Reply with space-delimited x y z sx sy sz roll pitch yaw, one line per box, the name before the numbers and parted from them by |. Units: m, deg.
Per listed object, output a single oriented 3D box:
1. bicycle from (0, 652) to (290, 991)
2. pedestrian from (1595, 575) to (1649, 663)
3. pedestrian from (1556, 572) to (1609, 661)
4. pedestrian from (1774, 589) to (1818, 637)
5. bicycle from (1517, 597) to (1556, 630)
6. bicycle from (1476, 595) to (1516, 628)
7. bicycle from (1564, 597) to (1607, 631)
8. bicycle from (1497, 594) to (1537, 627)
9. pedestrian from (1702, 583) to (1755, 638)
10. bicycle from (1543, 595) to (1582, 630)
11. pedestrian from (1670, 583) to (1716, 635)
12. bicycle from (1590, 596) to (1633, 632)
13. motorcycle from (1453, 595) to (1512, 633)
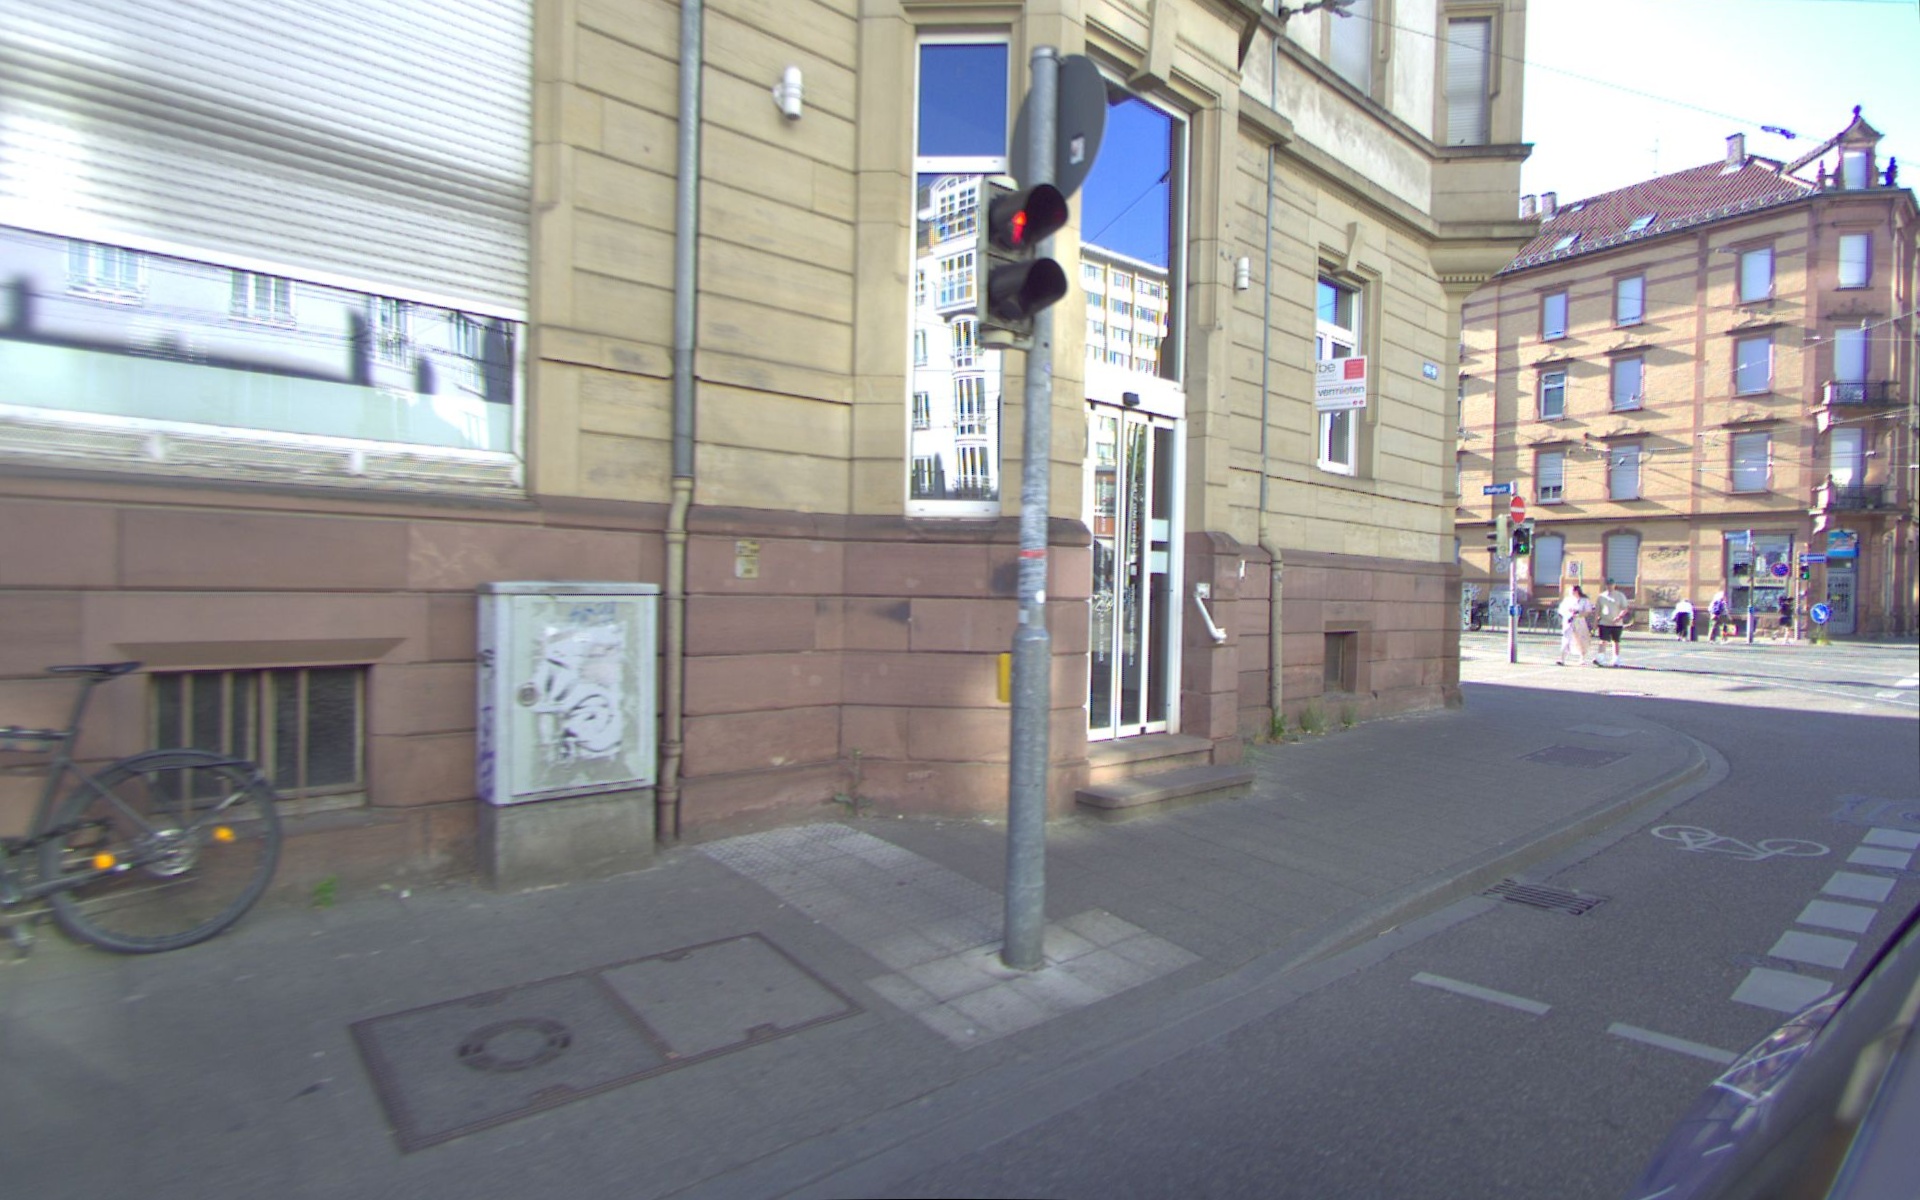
bicycle | -3.283 0.747 3.369 1.738 1.065 0.256 -1 0 -41
pedestrian | 13.017 0.351 19.890 0.620 1.675 0.702 0 1 -38
pedestrian | 12.598 0.326 20.494 0.691 1.767 0.646 0 0 -29
pedestrian | 27.202 0.416 32.939 0.922 1.556 0.636 1 1 -9
bicycle | 22.036 0.524 38.658 2.272 1.225 0.649 2 0 -43
bicycle | 21.028 0.457 39.654 2.272 1.225 0.649 2 0 -43
bicycle | 23.025 0.516 37.211 2.272 1.225 0.752 1 0 -43
bicycle | 21.542 0.410 39.137 2.272 1.225 0.649 2 0 -43
pedestrian | 23.648 0.315 31.155 0.910 1.652 0.940 1 1 8
bicycle | 22.662 0.484 38.052 2.272 1.225 0.649 2 0 -43
pedestrian | 23.978 0.277 33.119 0.913 1.652 1.003 1 1 18
bicycle | 23.413 0.517 36.353 2.272 1.225 0.752 2 0 -43
motorcycle | 21.289 0.555 41.246 1.915 1.422 0.862 3 0 13
